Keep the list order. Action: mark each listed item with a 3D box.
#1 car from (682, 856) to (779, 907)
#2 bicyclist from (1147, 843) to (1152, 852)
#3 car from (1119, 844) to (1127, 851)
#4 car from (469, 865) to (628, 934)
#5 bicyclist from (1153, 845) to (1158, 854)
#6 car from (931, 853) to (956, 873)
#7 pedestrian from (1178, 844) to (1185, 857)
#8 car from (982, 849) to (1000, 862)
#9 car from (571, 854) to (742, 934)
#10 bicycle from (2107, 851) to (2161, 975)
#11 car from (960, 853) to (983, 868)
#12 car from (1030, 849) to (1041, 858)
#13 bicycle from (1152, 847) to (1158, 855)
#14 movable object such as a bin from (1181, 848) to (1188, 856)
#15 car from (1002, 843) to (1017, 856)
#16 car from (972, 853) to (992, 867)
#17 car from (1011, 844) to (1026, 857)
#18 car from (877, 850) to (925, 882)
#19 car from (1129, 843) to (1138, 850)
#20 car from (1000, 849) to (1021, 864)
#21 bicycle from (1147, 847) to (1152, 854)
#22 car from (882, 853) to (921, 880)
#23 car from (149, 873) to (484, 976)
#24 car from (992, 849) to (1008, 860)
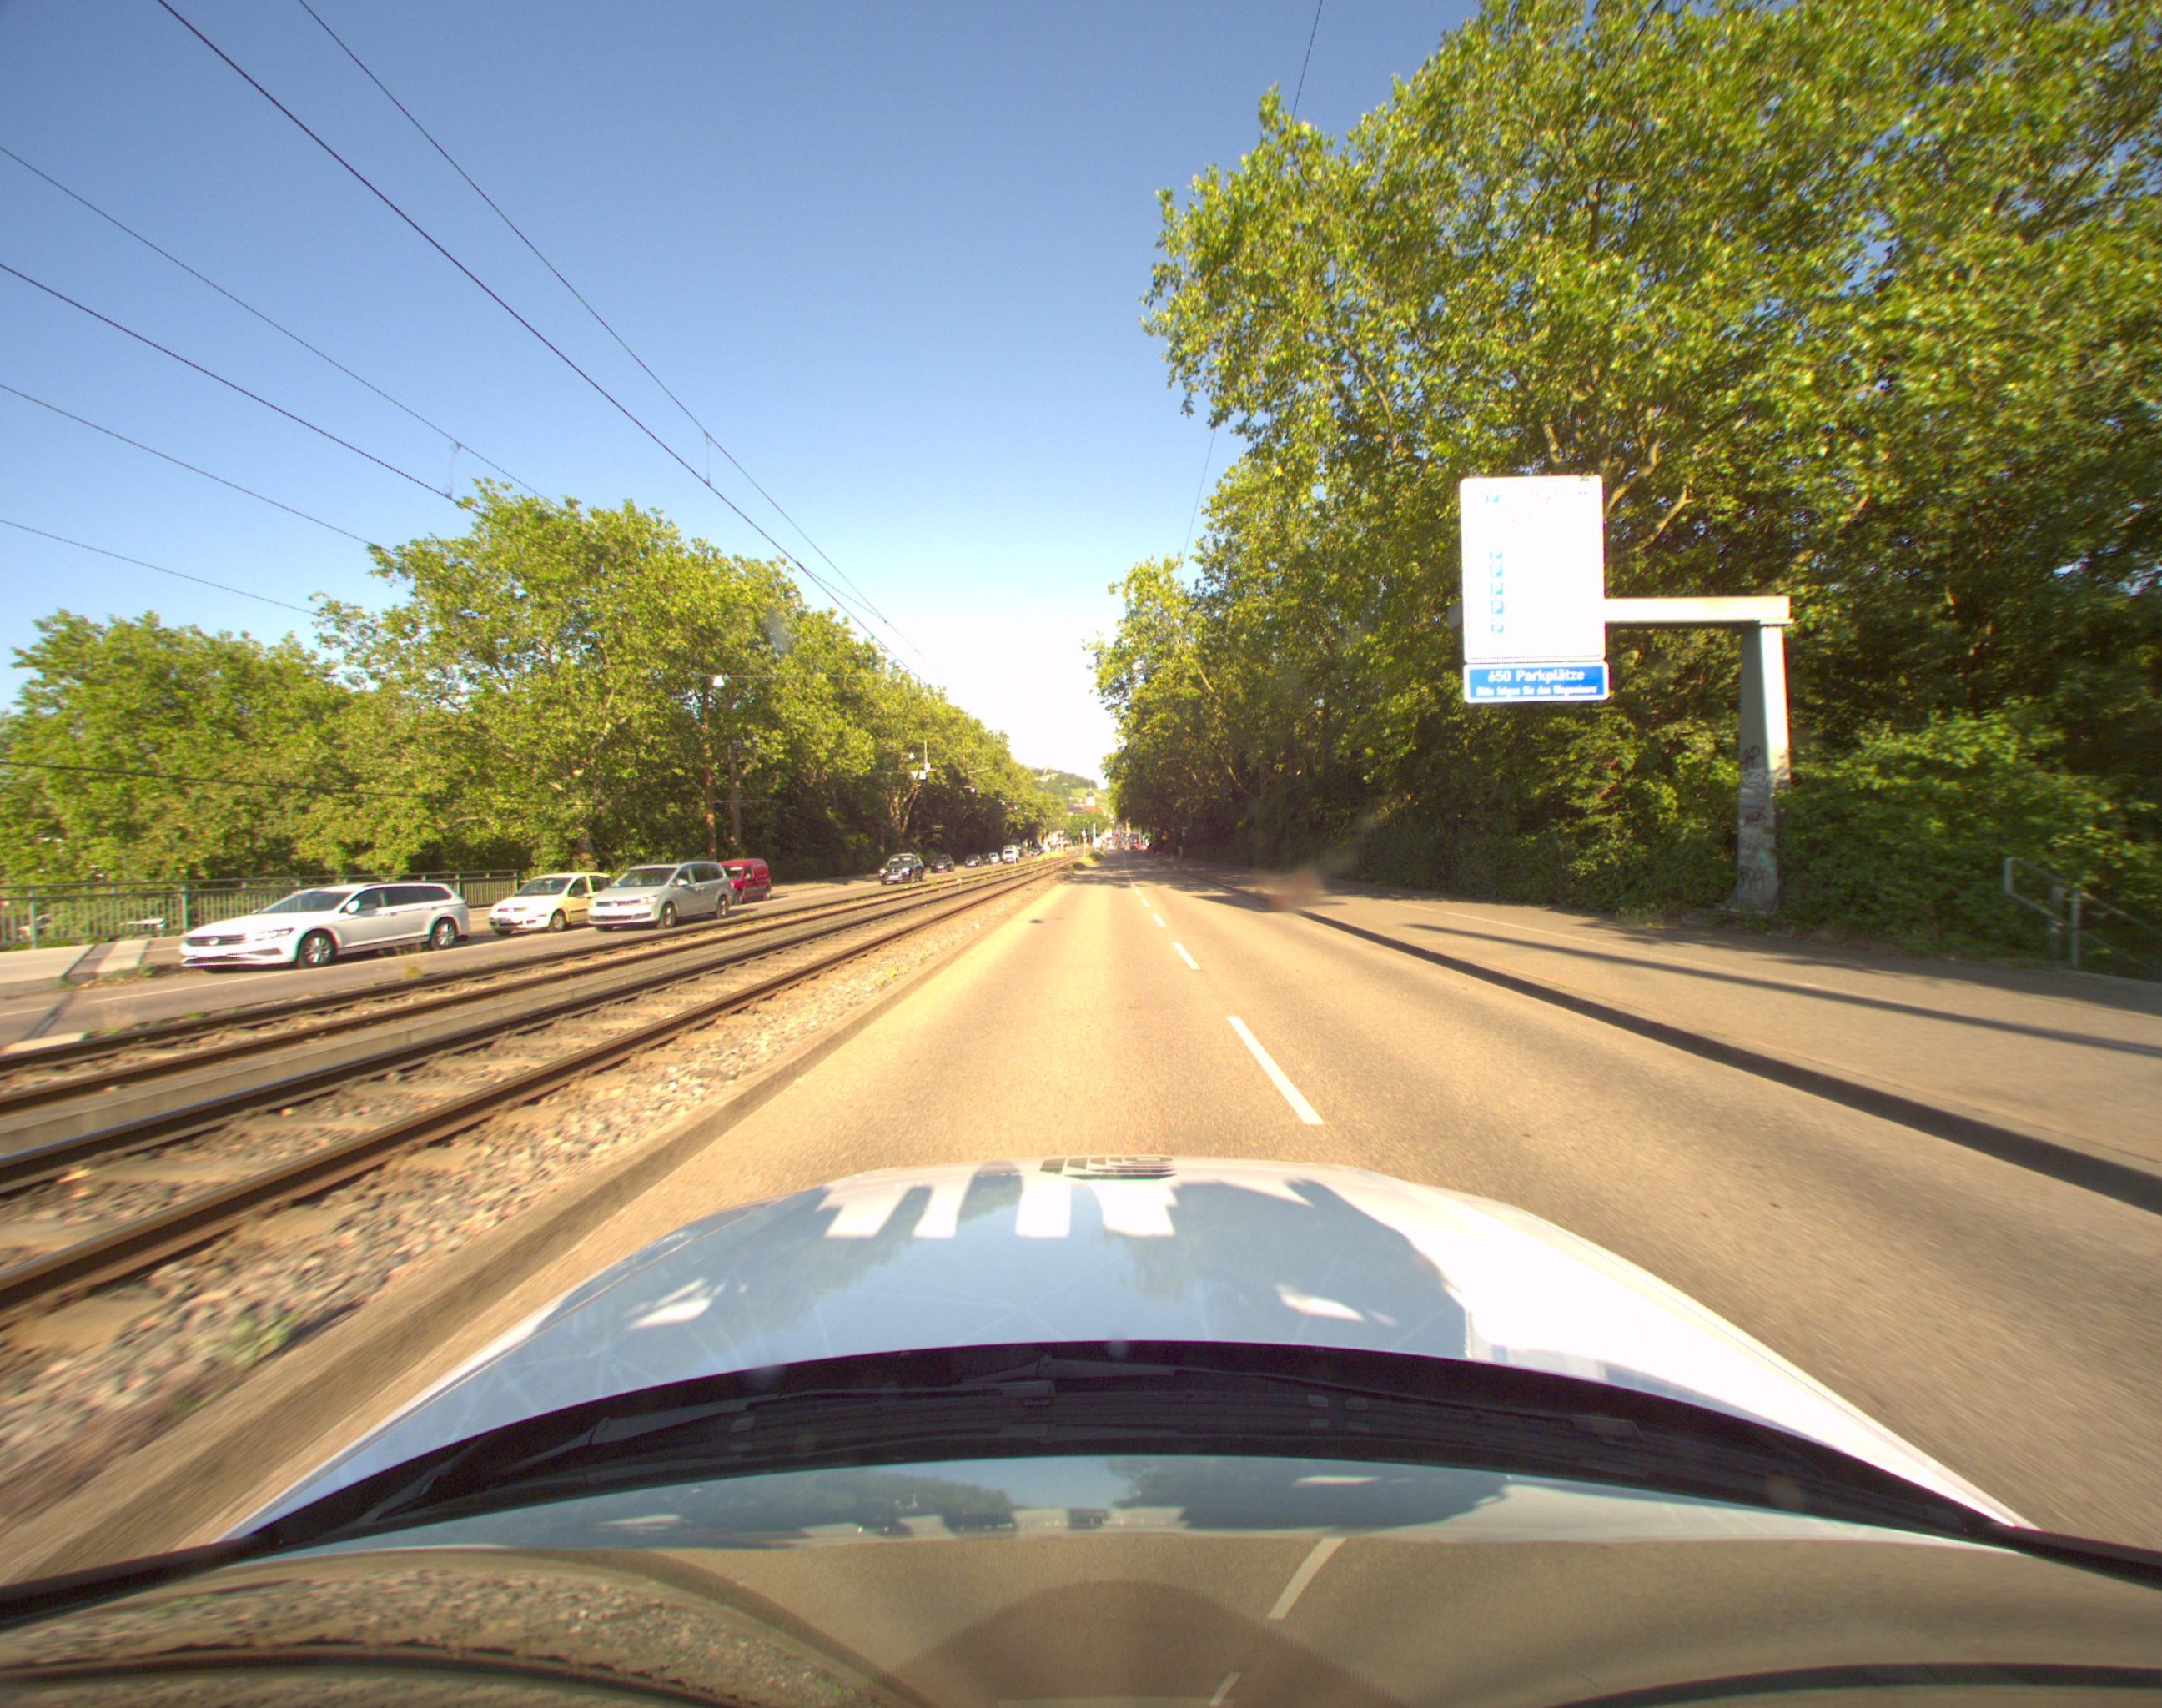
[{"bbox_3d":[-13.878,1.019,32.584,1.735,1.754,4.686,-2,1,1],"label":"car"},{"bbox_3d":[13.854,-1.243,165.197,0.883,1.774,1.223,-2,0,2],"label":"bicyclist"},{"bbox_3d":[13.053,-2.140,254.860,2.384,1.999,5.308,-2,0,2],"label":"car"},{"bbox_3d":[-14.085,1.152,21.823,1.627,1.531,3.792,-2,1,2],"label":"car"},{"bbox_3d":[13.381,-0.810,146.763,0.883,1.638,1.165,-2,0,2],"label":"bicyclist"},{"bbox_3d":[-12.768,0.800,75.901,1.738,1.636,3.996,-3,1,-3],"label":"car"},{"bbox_3d":[11.742,-0.410,95.148,0.800,1.545,0.815,-2,0,5],"label":"pedestrian"},{"bbox_3d":[-13.293,0.217,120.268,1.987,1.697,4.745,-2,0,1],"label":"car"},{"bbox_3d":[-11.135,0.962,21.825,1.866,1.665,4.600,-5,1,2],"label":"car"},{"bbox_3d":[10.991,0.520,7.454,2.021,1.122,0.629,-2,0,13],"label":"bicycle"},{"bbox_3d":[-12.832,0.740,95.720,1.987,1.697,4.745,-2,0,1],"label":"car"},{"bbox_3d":[-9.492,-0.176,169.538,1.987,1.697,4.745,-2,0,1],"label":"car"},{"bbox_3d":[13.383,-0.539,146.666,0.883,1.321,2.641,-2,0,2],"label":"bicycle"},{"bbox_3d":[11.992,-0.204,94.355,0.800,0.947,0.657,-2,0,5],"label":"movable object such as a bin"},{"bbox_3d":[-12.897,-0.798,147.407,1.987,2.164,5.815,-2,0,1],"label":"car"},{"bbox_3d":[-13.147,0.786,108.710,1.987,1.697,4.745,-2,0,1],"label":"car"},{"bbox_3d":[-12.968,-0.749,169.078,2.384,2.523,5.903,-2,0,2],"label":"car"},{"bbox_3d":[-10.359,0.658,47.206,1.736,1.623,4.394,-3,1,0],"label":"car"},{"bbox_3d":[16.141,-2.301,249.899,2.384,1.999,5.308,-2,0,2],"label":"car"},{"bbox_3d":[-9.322,0.282,107.739,1.986,1.844,5.304,-3,0,2],"label":"car"},{"bbox_3d":[13.904,-0.717,165.497,0.883,1.321,2.641,-2,0,2],"label":"bicycle"},{"bbox_3d":[-13.331,0.879,60.707,1.736,1.743,4.513,-5,1,-1],"label":"car"},{"bbox_3d":[-14.305,1.211,15.787,1.736,1.464,4.957,-1,1,1],"label":"car"},{"bbox_3d":[-13.099,0.120,131.915,1.987,1.697,4.745,-2,0,1],"label":"car"}]
